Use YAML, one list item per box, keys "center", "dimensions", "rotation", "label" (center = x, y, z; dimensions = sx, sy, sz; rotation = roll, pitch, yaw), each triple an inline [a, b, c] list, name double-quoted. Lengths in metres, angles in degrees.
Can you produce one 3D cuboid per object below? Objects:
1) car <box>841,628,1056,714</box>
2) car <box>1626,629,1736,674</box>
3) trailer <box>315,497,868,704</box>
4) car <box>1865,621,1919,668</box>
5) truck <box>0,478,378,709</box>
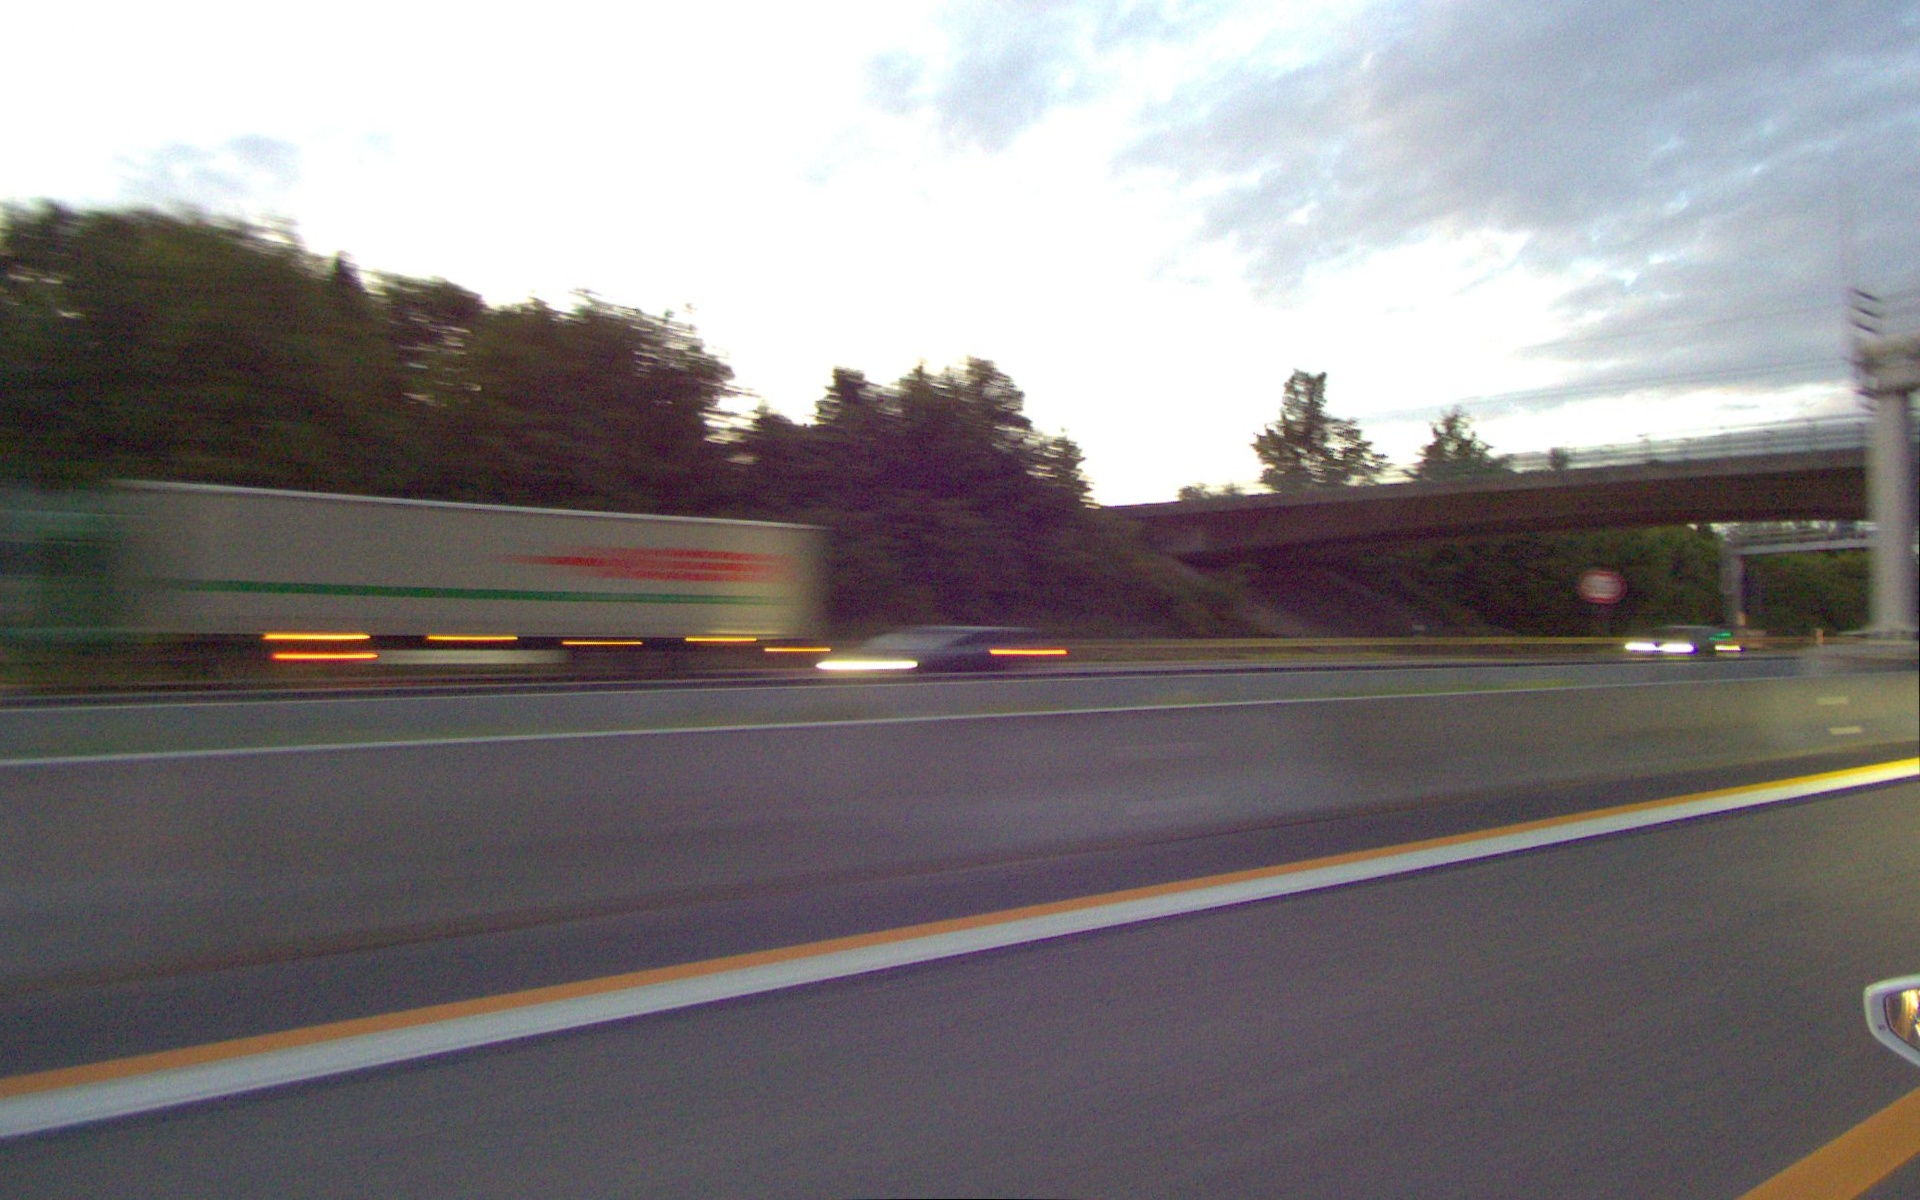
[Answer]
- center: [-0.237, 1.557, 22.776]
  dimensions: [4.459, 1.698, 1.985]
  rotation: [2, 0, -28]
  label: "car"
- center: [29.784, 2.098, 41.464]
  dimensions: [4.528, 1.696, 1.984]
  rotation: [2, 0, -30]
  label: "car"
- center: [-8.510, 0.152, 24.868]
  dimensions: [12.247, 4.262, 2.767]
  rotation: [2, 0, -28]
  label: "trailer"
- center: [48.723, 2.275, 51.569]
  dimensions: [4.745, 2.219, 1.984]
  rotation: [2, 0, -30]
  label: "car"
- center: [-15.863, -0.060, 20.876]
  dimensions: [6.306, 4.227, 2.766]
  rotation: [2, 0, -28]
  label: "truck"
